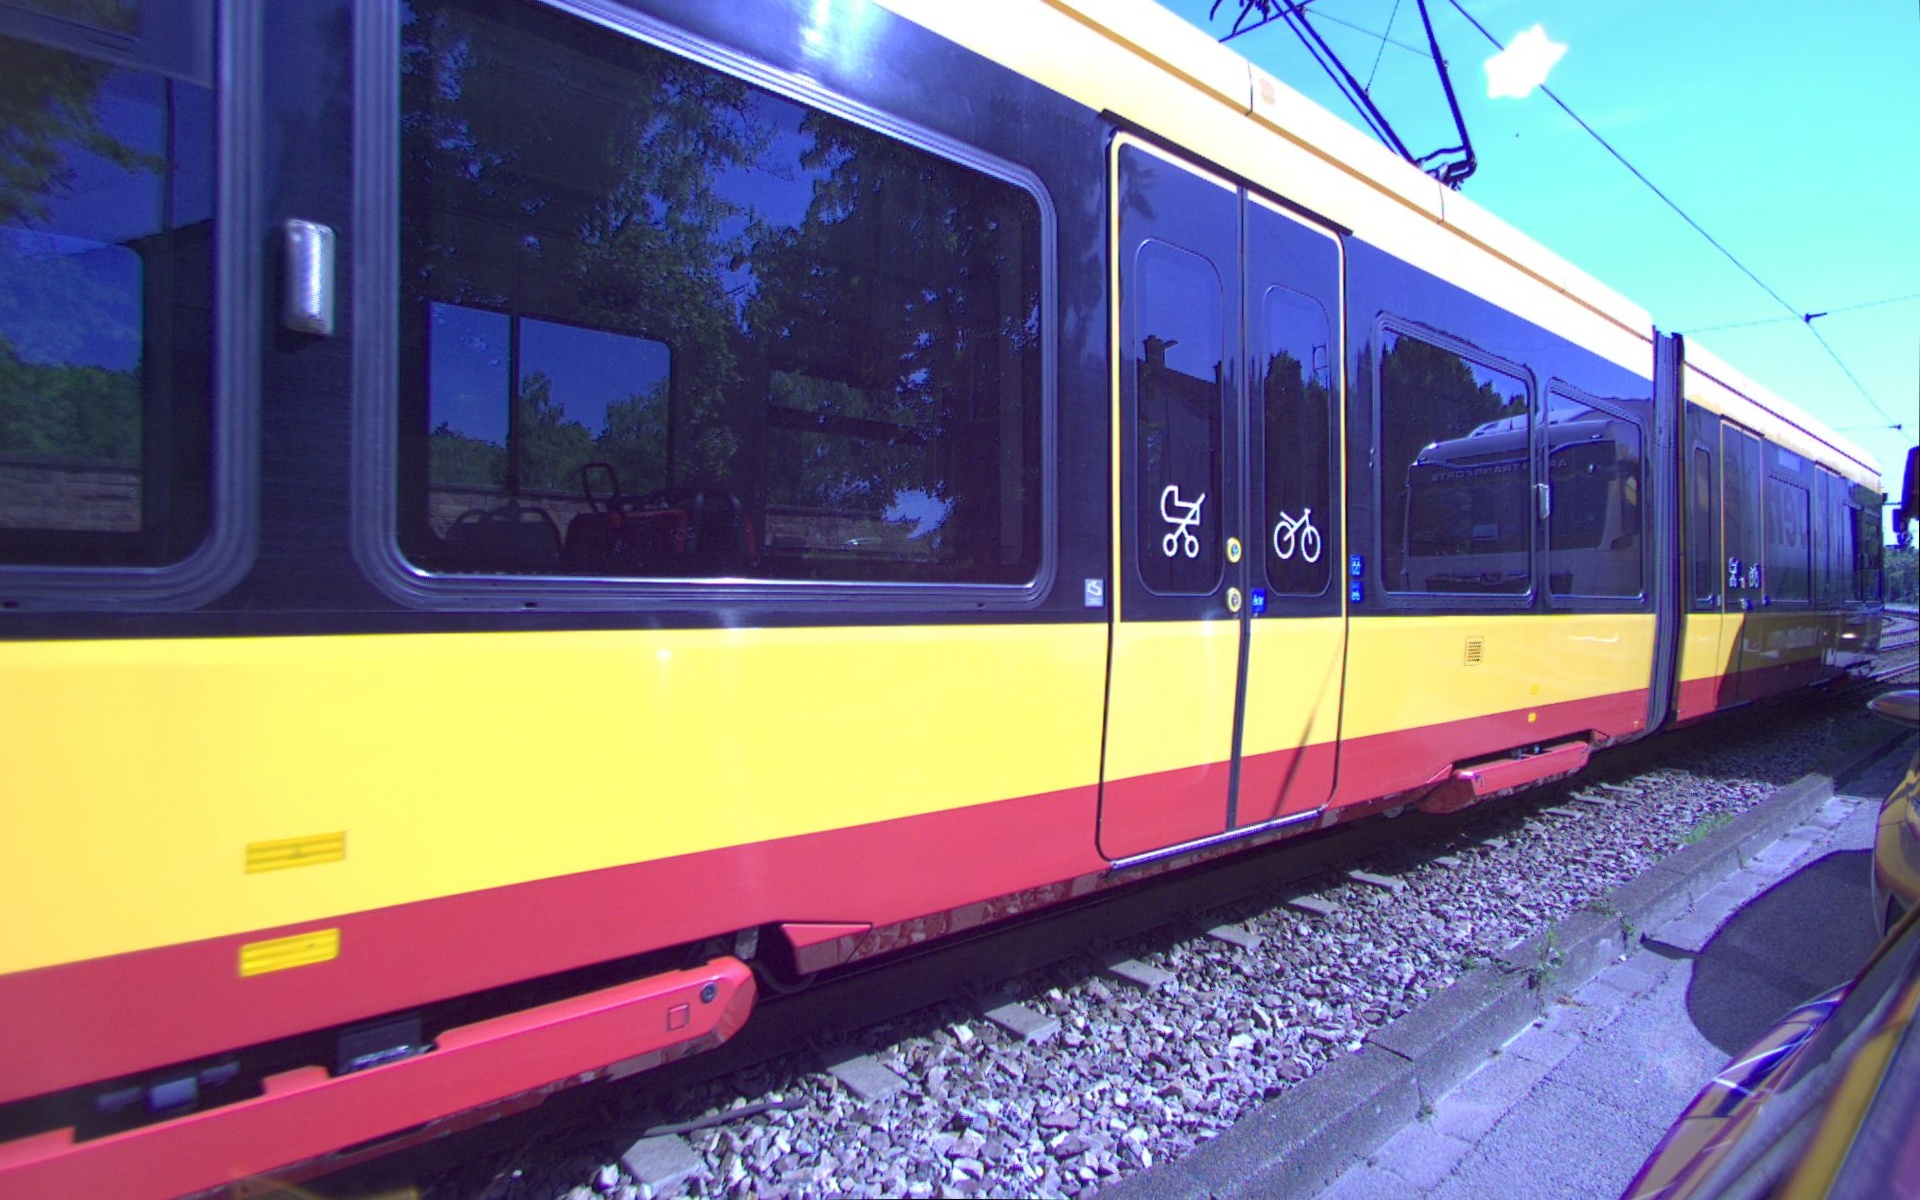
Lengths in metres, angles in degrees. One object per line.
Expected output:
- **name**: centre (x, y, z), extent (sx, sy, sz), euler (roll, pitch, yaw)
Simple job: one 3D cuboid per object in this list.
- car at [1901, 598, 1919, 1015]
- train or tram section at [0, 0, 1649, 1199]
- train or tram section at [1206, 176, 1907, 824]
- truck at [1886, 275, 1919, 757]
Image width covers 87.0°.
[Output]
- **car**: centre (5.125, 0.667, 4.026), extent (3.930, 1.448, 1.573), euler (0, 2, -41)
- **train or tram section**: centre (-1.434, -0.541, 3.206), extent (12.174, 3.903, 2.876), euler (0, 2, -41)
- **train or tram section**: centre (7.597, -0.658, 11.205), extent (12.174, 3.903, 2.876), euler (0, 2, -41)
- **truck**: centre (14.210, -0.639, 12.040), extent (14.651, 3.927, 2.934), euler (0, 2, -41)
